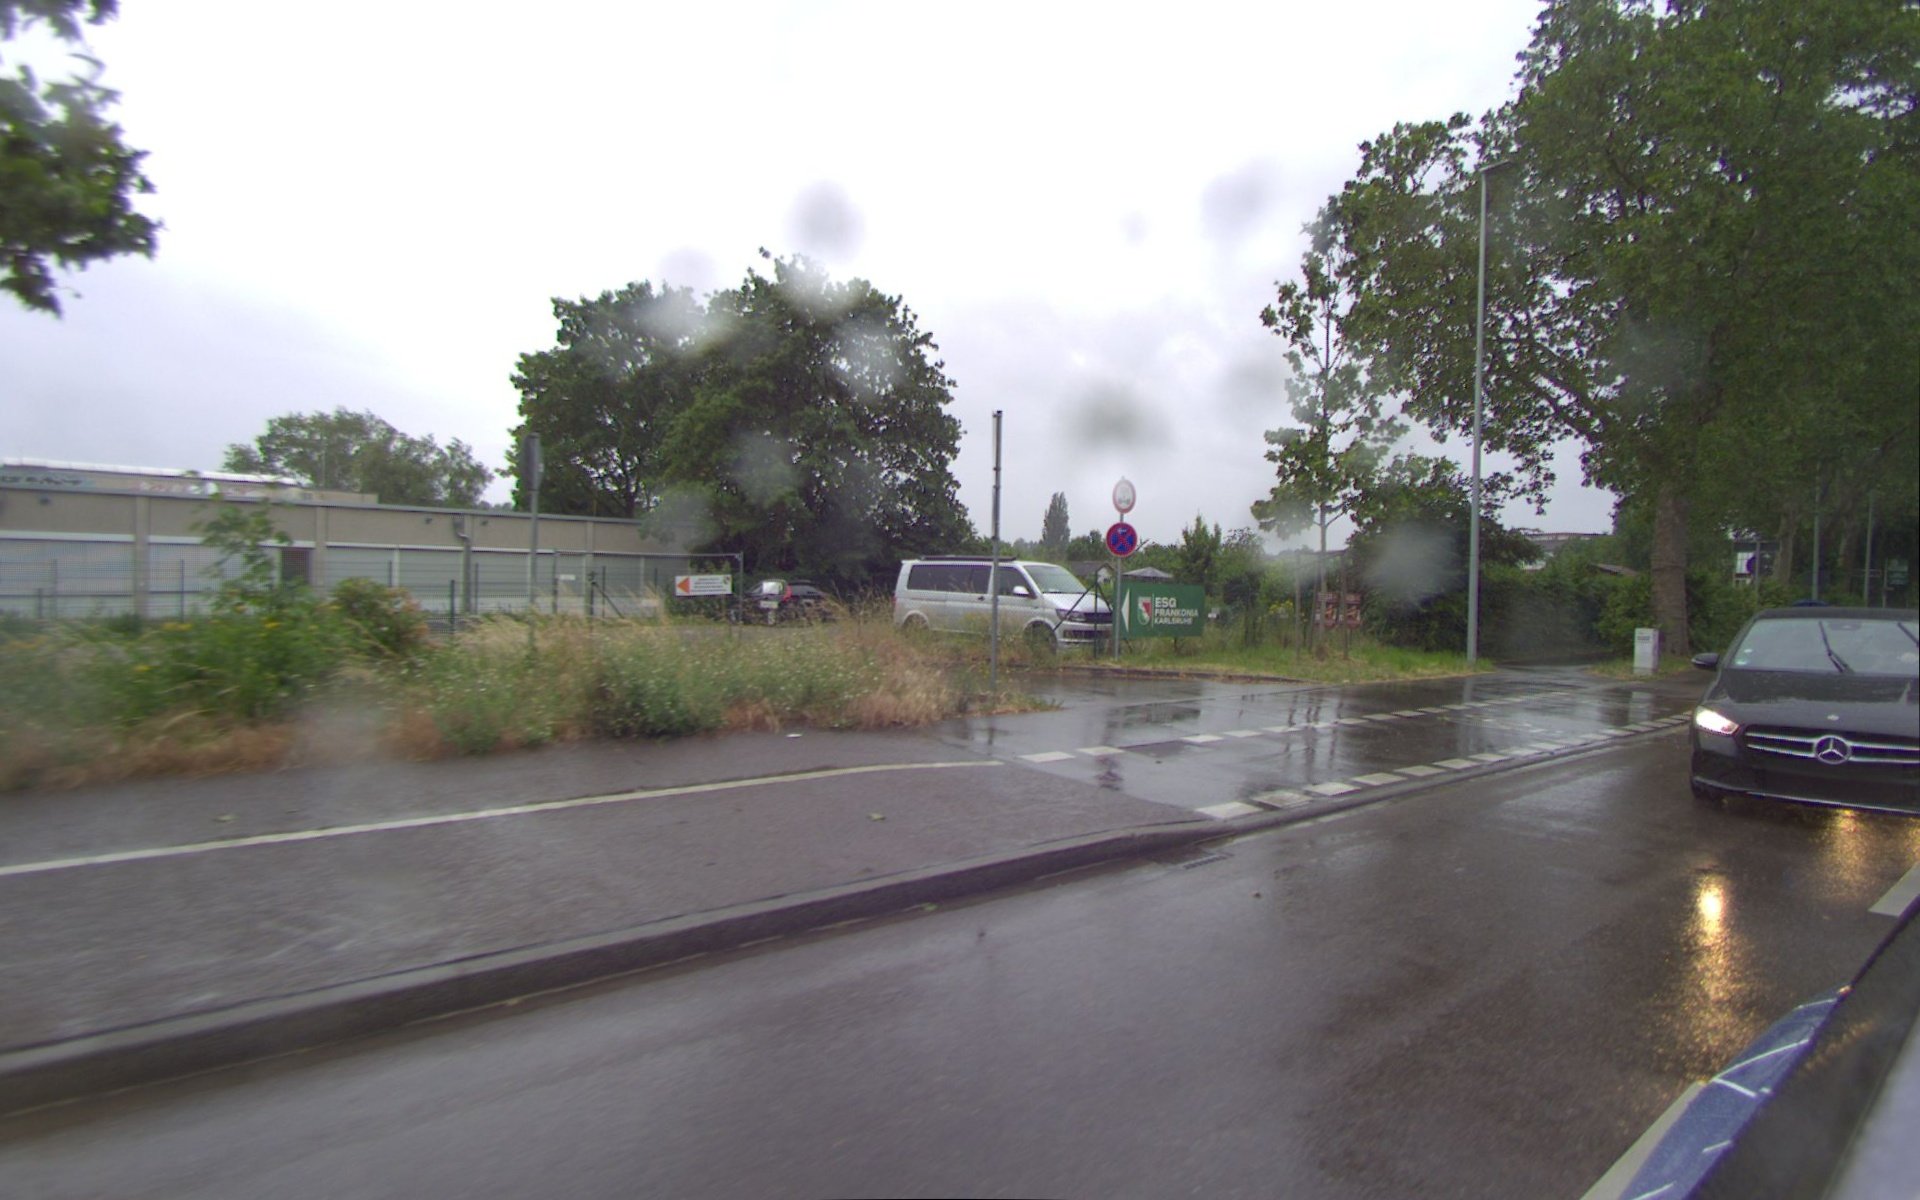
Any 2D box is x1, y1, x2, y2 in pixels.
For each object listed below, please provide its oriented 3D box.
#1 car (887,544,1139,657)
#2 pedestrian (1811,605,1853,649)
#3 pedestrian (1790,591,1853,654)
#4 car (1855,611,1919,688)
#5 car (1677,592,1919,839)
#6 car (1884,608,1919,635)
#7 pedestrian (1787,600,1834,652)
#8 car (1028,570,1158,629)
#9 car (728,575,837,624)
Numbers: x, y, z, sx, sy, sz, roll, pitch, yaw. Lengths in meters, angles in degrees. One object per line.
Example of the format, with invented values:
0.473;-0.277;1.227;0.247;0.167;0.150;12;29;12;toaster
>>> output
0.952;-0.005;20.883;5.250;2.039;1.968;0;0;45;car
29.798;0.895;34.570;0.999;1.407;0.894;0;3;-42;pedestrian
26.410;0.679;31.018;1.127;1.807;1.242;1;3;-42;pedestrian
19.442;0.951;20.471;3.718;1.402;1.639;0;1;-43;car
7.275;0.727;8.171;1.817;1.549;4.351;0;0;44;car
57.037;1.291;59.732;1.627;1.516;3.391;2;0;-36;car
27.738;0.830;32.992;1.271;1.608;0.948;0;2;-42;pedestrian
4.342;0.002;32.878;3.927;1.639;1.998;4;-3;-39;car
-6.310;-0.021;35.762;1.966;1.638;3.991;0;0;-43;car
